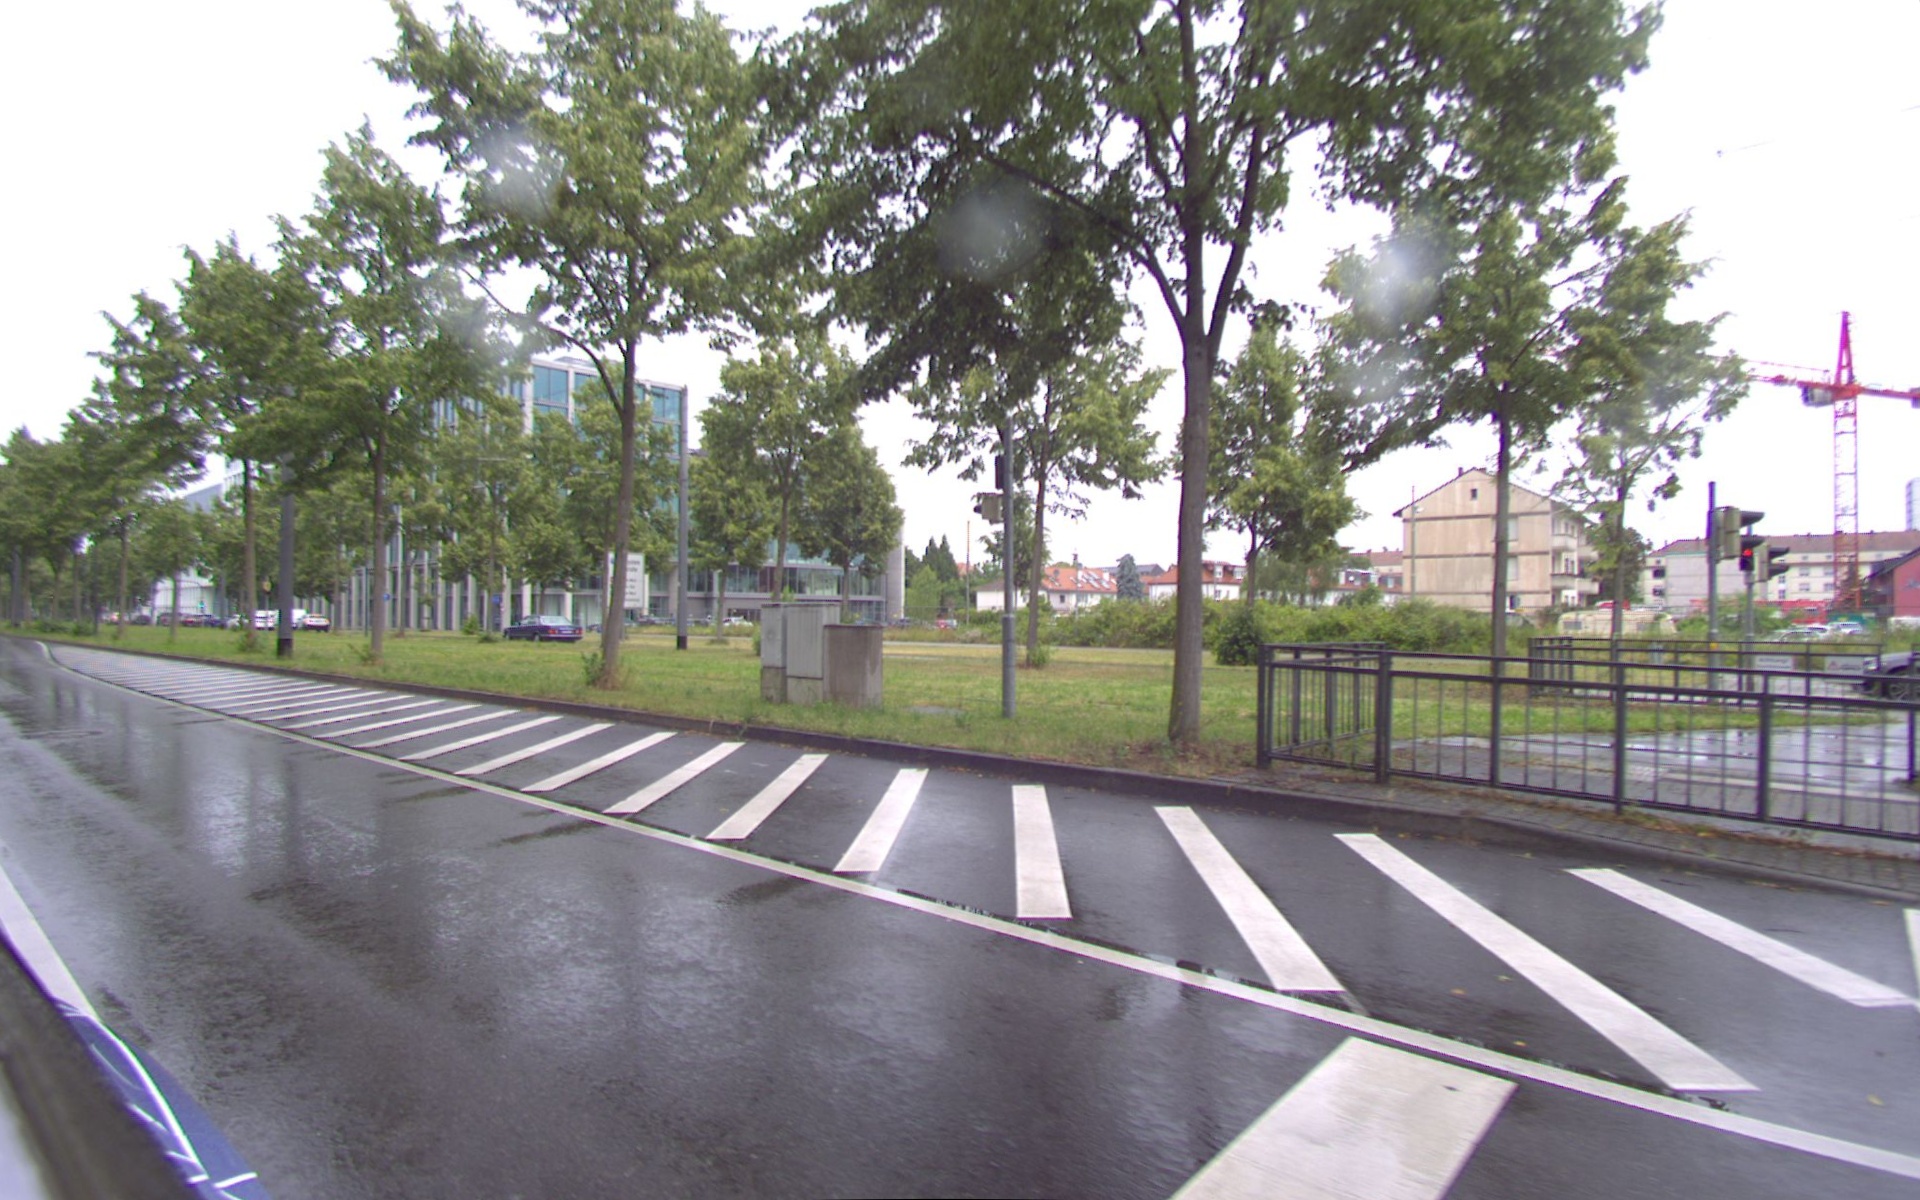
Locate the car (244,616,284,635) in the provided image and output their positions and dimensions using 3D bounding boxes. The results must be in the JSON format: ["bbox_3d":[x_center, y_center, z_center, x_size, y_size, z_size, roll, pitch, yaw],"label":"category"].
[{"bbox_3d":[-67.291,2.457,97.781,5.025,1.664,1.931,-4,-3,40],"label":"car"}]

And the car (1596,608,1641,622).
[{"bbox_3d":[61.721,1.409,94.892,3.248,1.222,1.470,-3,-3,24],"label":"car"}]

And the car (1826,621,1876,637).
[{"bbox_3d":[91.529,3.018,104.024,3.811,1.531,1.722,-4,-4,41],"label":"car"}]

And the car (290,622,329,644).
[{"bbox_3d":[-55.728,2.816,86.678,4.578,1.762,1.928,-1,-1,45],"label":"car"}]

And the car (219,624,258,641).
[{"bbox_3d":[-66.062,2.932,92.610,4.574,1.525,1.930,-1,-1,42],"label":"car"}]

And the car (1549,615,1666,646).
[{"bbox_3d":[39.499,1.909,61.853,5.771,1.685,2.026,-4,-3,40],"label":"car"}]

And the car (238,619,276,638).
[{"bbox_3d":[-61.221,2.485,88.113,1.928,1.472,4.833,1,-4,-44],"label":"car"}]

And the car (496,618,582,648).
[{"bbox_3d":[-19.165,1.529,45.966,4.848,1.276,1.533,-3,-3,40],"label":"car"}]

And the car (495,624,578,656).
[{"bbox_3d":[-19.364,1.798,46.177,4.975,1.307,1.472,0,-1,42],"label":"car"}]

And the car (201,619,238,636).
[{"bbox_3d":[-71.756,2.676,98.059,3.958,1.506,1.931,-4,-3,40],"label":"car"}]

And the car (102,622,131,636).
[{"bbox_3d":[-96.004,3.296,115.148,4.574,1.463,1.930,-1,-1,42],"label":"car"}]

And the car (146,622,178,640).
[{"bbox_3d":[-87.514,3.415,110.952,4.541,1.863,1.930,-3,-3,41],"label":"car"}]

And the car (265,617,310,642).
[{"bbox_3d":[-61.430,2.693,92.362,5.372,2.022,2.243,-4,-4,43],"label":"car"}]

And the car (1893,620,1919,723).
[{"bbox_3d":[17.652,1.109,14.982,5.495,1.620,1.931,-1,-2,39],"label":"car"}]

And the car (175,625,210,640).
[{"bbox_3d":[-79.489,3.398,104.782,4.602,1.396,1.930,-4,-4,41],"label":"car"}]
